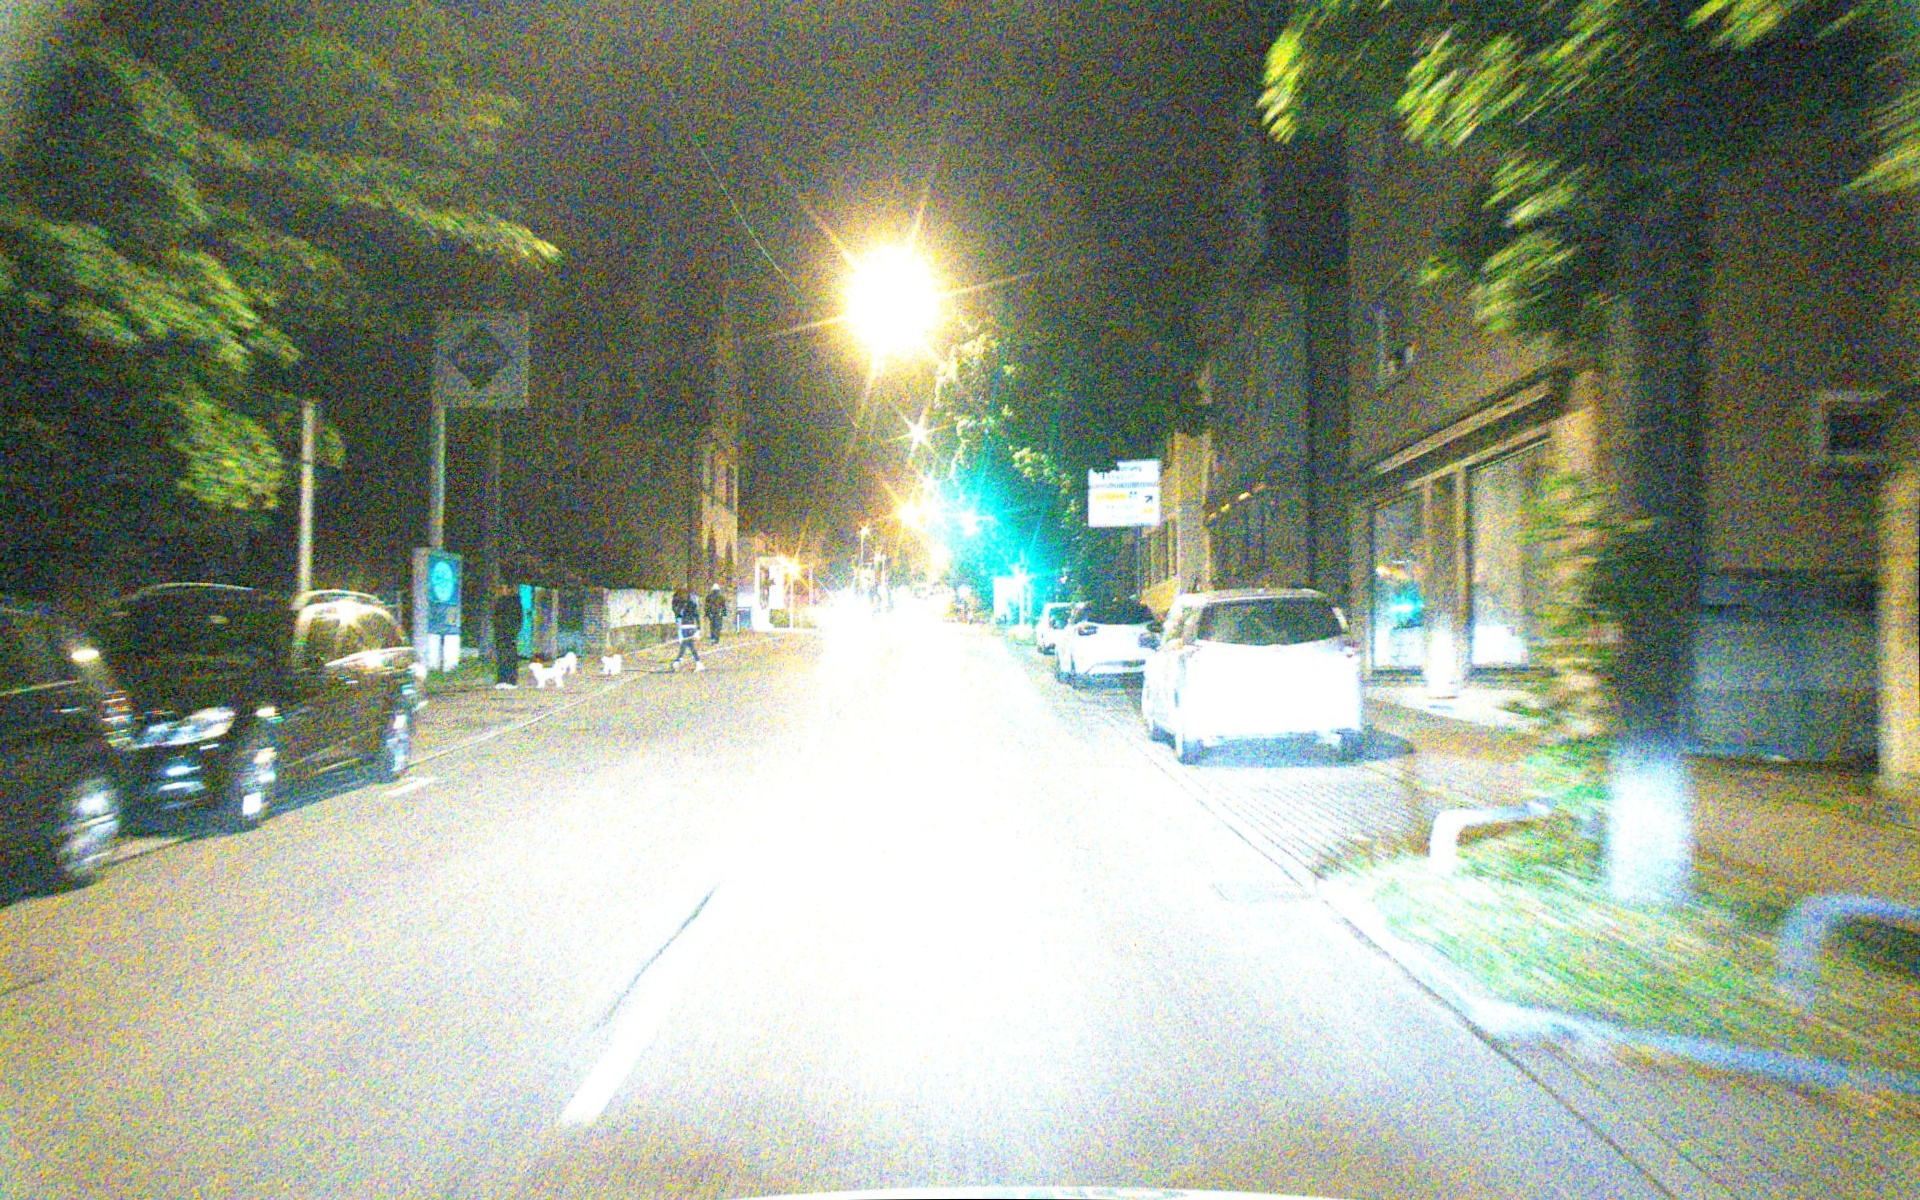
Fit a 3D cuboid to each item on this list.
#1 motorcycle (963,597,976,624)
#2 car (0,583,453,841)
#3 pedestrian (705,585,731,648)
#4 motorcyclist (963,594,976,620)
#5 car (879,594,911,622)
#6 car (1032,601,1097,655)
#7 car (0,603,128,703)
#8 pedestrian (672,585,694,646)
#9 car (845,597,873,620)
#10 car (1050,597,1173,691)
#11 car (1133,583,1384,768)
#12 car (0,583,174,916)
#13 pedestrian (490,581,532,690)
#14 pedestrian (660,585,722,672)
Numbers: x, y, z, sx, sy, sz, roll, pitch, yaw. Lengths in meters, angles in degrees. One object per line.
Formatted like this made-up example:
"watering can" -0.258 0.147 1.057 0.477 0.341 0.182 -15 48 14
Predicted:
"motorcycle" 0.660 0.748 114.842 0.912 1.783 2.624 1 -1 0
"car" -5.208 0.629 12.012 1.686 1.462 4.809 1 1 -2
"pedestrian" -7.007 0.490 47.944 0.705 1.796 0.602 1 -1 -9
"motorcyclist" 0.662 0.473 114.849 0.831 1.783 0.805 1 -1 0
"car" -4.257 0.549 108.346 1.904 1.747 3.999 1 -1 0
"car" 3.095 0.819 49.623 1.596 1.522 3.413 1 0 -2
"car" -14.944 0.802 26.141 3.198 1.478 1.790 0 -1 32
"pedestrian" -7.951 0.450 47.497 0.559 1.729 0.927 1 -1 -9
"car" -7.100 0.616 116.274 1.680 1.483 3.922 1 -1 0
"car" 2.714 0.742 30.401 1.830 1.553 4.149 -1 0 0
"car" 2.917 0.673 17.074 1.775 1.622 4.273 -1 0 0
"car" -5.055 0.645 6.795 1.686 1.463 4.189 1 0 -1
"pedestrian" -7.259 0.576 26.758 0.570 1.729 0.530 1 -1 -9
"pedestrian" -5.509 0.580 33.910 0.751 1.729 0.924 3 0 34
